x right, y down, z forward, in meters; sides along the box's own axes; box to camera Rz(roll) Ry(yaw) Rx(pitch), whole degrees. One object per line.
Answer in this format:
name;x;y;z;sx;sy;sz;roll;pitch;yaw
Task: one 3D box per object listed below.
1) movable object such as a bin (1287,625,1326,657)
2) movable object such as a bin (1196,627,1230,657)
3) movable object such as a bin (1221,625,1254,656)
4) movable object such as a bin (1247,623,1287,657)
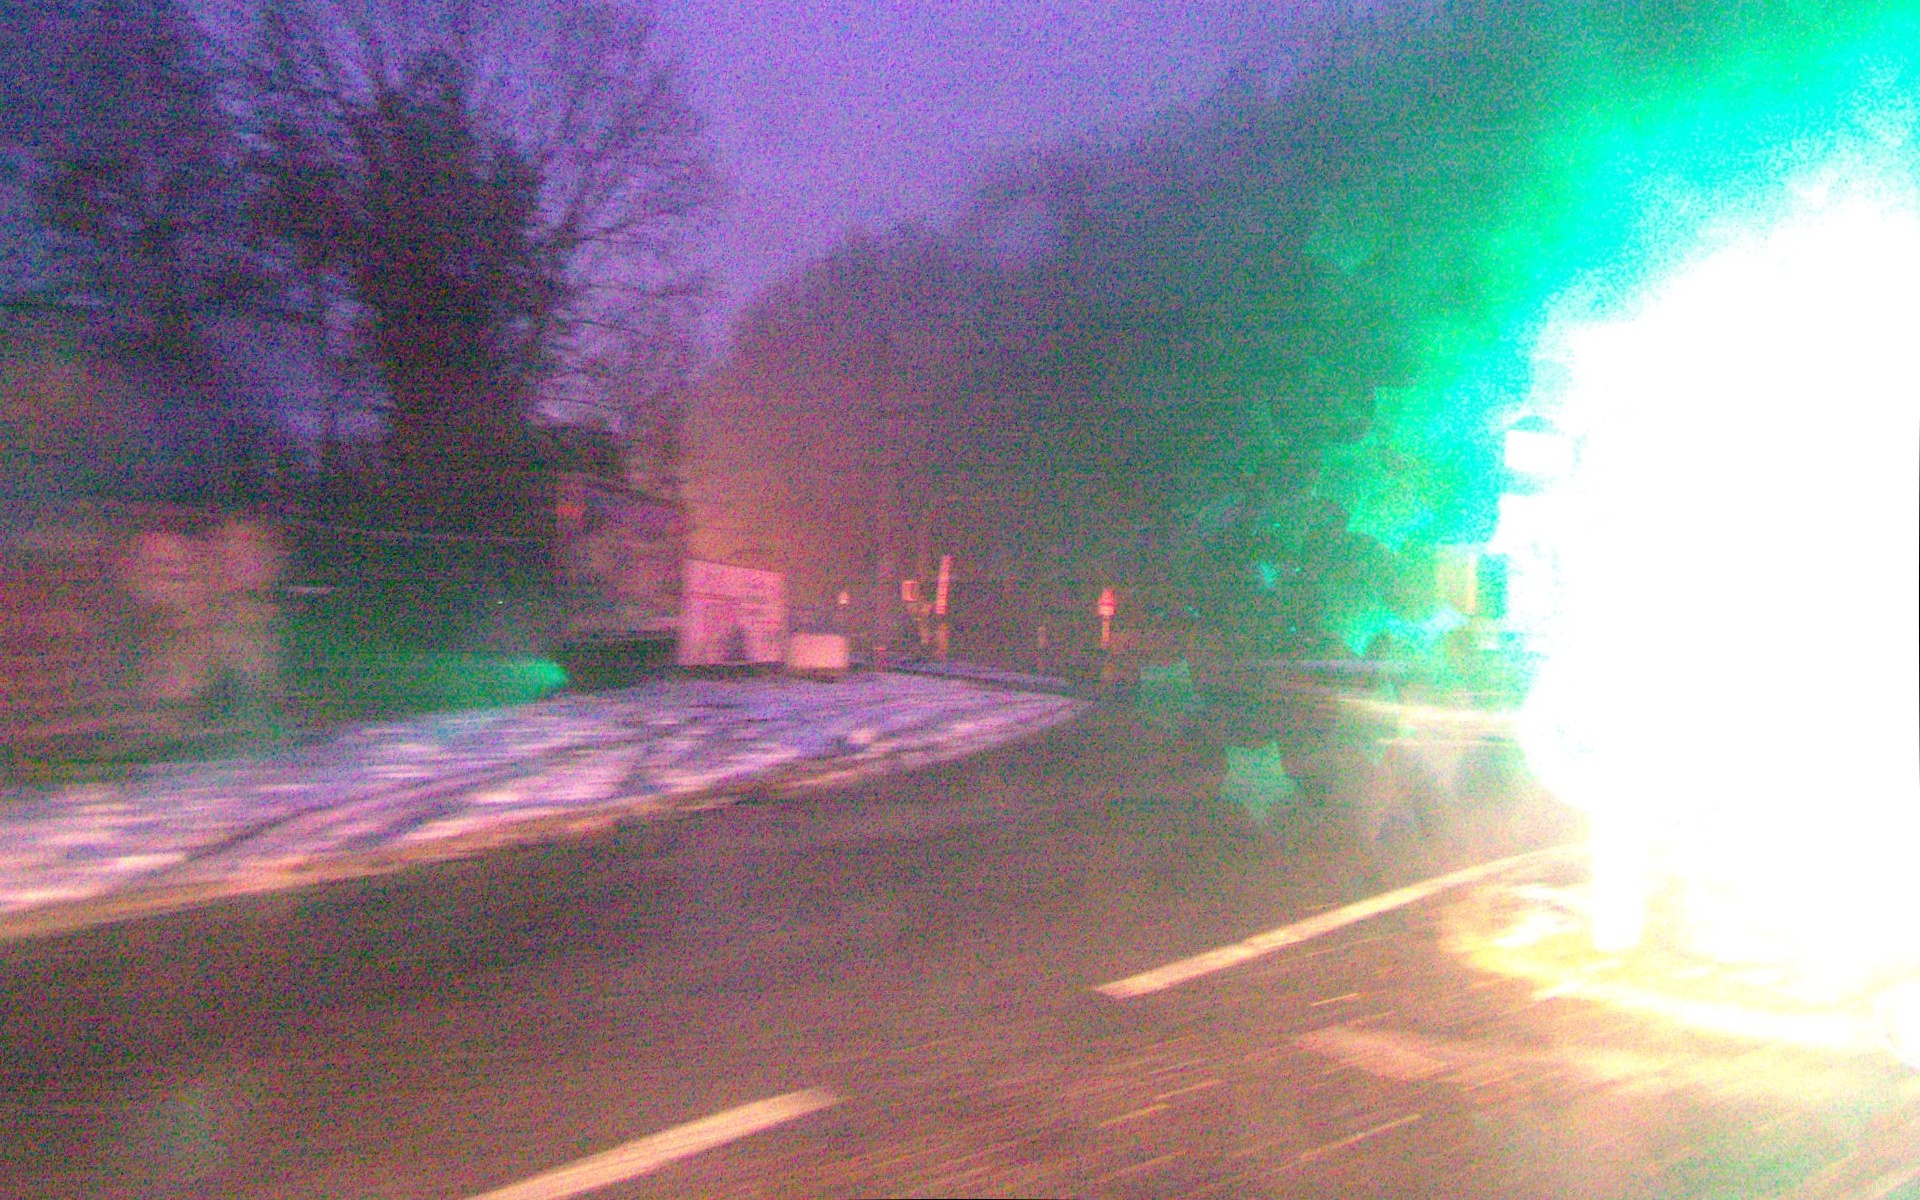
movable object such as a bin;14.865;1.755;43.108;1.296;1.316;1.247;-1;1;33
movable object such as a bin;11.493;1.894;45.607;1.298;1.326;1.175;0;0;26
movable object such as a bin;12.332;1.780;44.649;1.210;1.343;1.152;0;0;28
movable object such as a bin;13.372;1.741;43.787;1.368;1.432;1.248;0;-1;33
